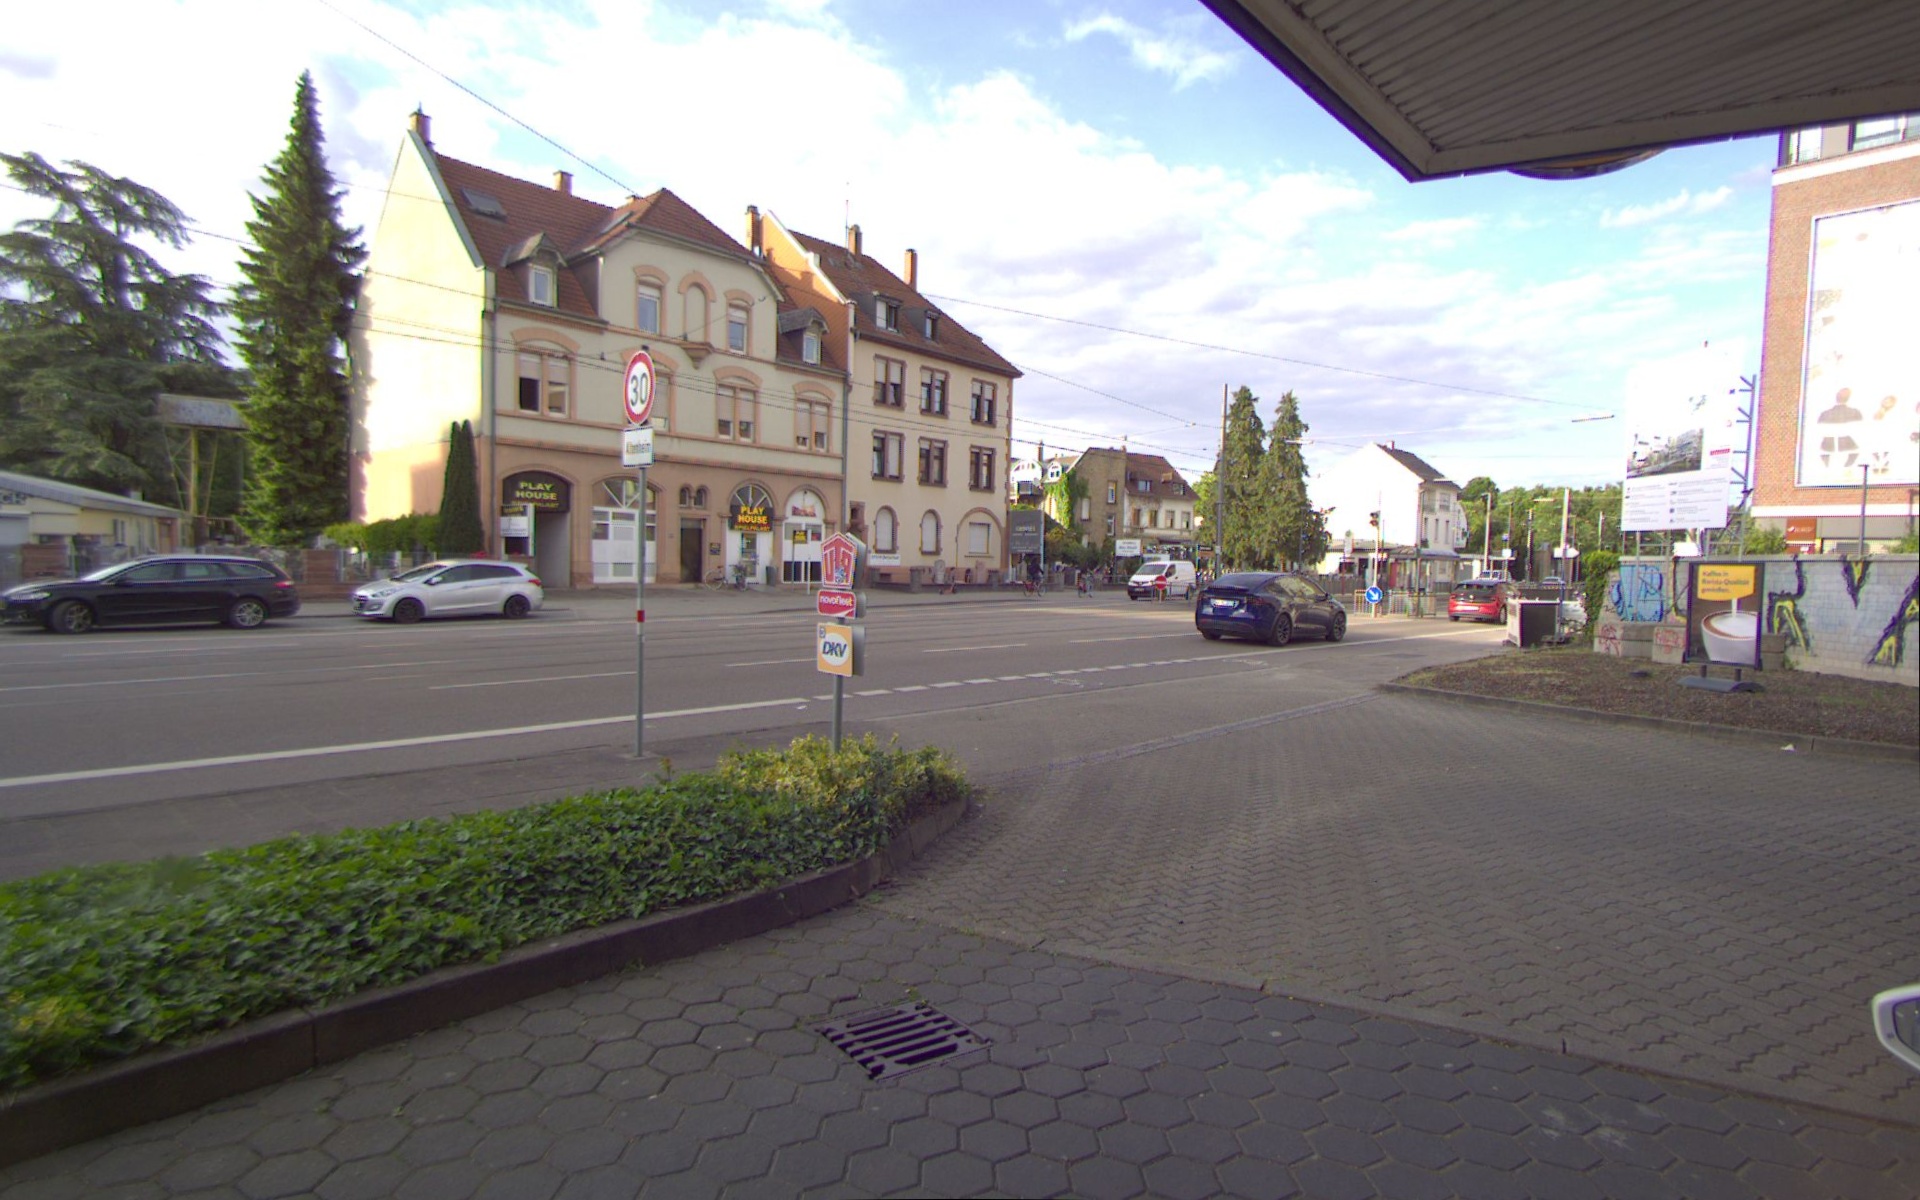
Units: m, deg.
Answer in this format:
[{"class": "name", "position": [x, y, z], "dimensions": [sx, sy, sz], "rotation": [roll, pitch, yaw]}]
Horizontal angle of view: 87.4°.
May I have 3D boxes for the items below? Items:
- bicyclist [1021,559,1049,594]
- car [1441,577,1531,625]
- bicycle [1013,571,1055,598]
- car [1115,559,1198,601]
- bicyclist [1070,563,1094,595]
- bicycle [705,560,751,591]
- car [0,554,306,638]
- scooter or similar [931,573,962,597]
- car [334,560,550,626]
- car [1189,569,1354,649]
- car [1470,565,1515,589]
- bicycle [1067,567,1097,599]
[{"class": "bicyclist", "position": [3.604, -1.146, 48.314], "dimensions": [0.955, 1.579, 0.838], "rotation": [0, 6, -36]}, {"class": "car", "position": [18.948, 0.012, 36.116], "dimensions": [1.745, 1.564, 4.106], "rotation": [5, 4, 43]}, {"class": "bicycle", "position": [3.575, -0.749, 48.351], "dimensions": [1.887, 1.219, 0.837], "rotation": [0, 6, -37]}, {"class": "car", "position": [9.523, -0.954, 48.587], "dimensions": [1.940, 1.915, 4.387], "rotation": [4, 3, 42]}, {"class": "bicyclist", "position": [6.073, -1.052, 49.943], "dimensions": [0.774, 1.512, 1.094], "rotation": [5, 4, 28]}, {"class": "bicycle", "position": [-9.148, -0.954, 39.712], "dimensions": [0.508, 1.189, 1.809], "rotation": [4, 2, 40]}, {"class": "car", "position": [-16.573, -0.147, 20.735], "dimensions": [1.970, 1.516, 4.801], "rotation": [3, 3, 40]}, {"class": "scooter or similar", "position": [-0.603, -0.689, 45.139], "dimensions": [0.488, 1.015, 1.592], "rotation": [5, 5, 39]}, {"class": "car", "position": [-13.005, -0.245, 25.467], "dimensions": [1.970, 1.495, 4.467], "rotation": [3, 3, 40]}, {"class": "car", "position": [7.568, 0.168, 24.113], "dimensions": [1.746, 1.679, 4.820], "rotation": [5, 4, 44]}, {"class": "car", "position": [46.899, -2.039, 88.434], "dimensions": [4.852, 1.995, 1.975], "rotation": [-1, 3, -42]}, {"class": "bicycle", "position": [6.095, -0.871, 49.987], "dimensions": [0.774, 1.512, 1.989], "rotation": [5, 4, 27]}]
